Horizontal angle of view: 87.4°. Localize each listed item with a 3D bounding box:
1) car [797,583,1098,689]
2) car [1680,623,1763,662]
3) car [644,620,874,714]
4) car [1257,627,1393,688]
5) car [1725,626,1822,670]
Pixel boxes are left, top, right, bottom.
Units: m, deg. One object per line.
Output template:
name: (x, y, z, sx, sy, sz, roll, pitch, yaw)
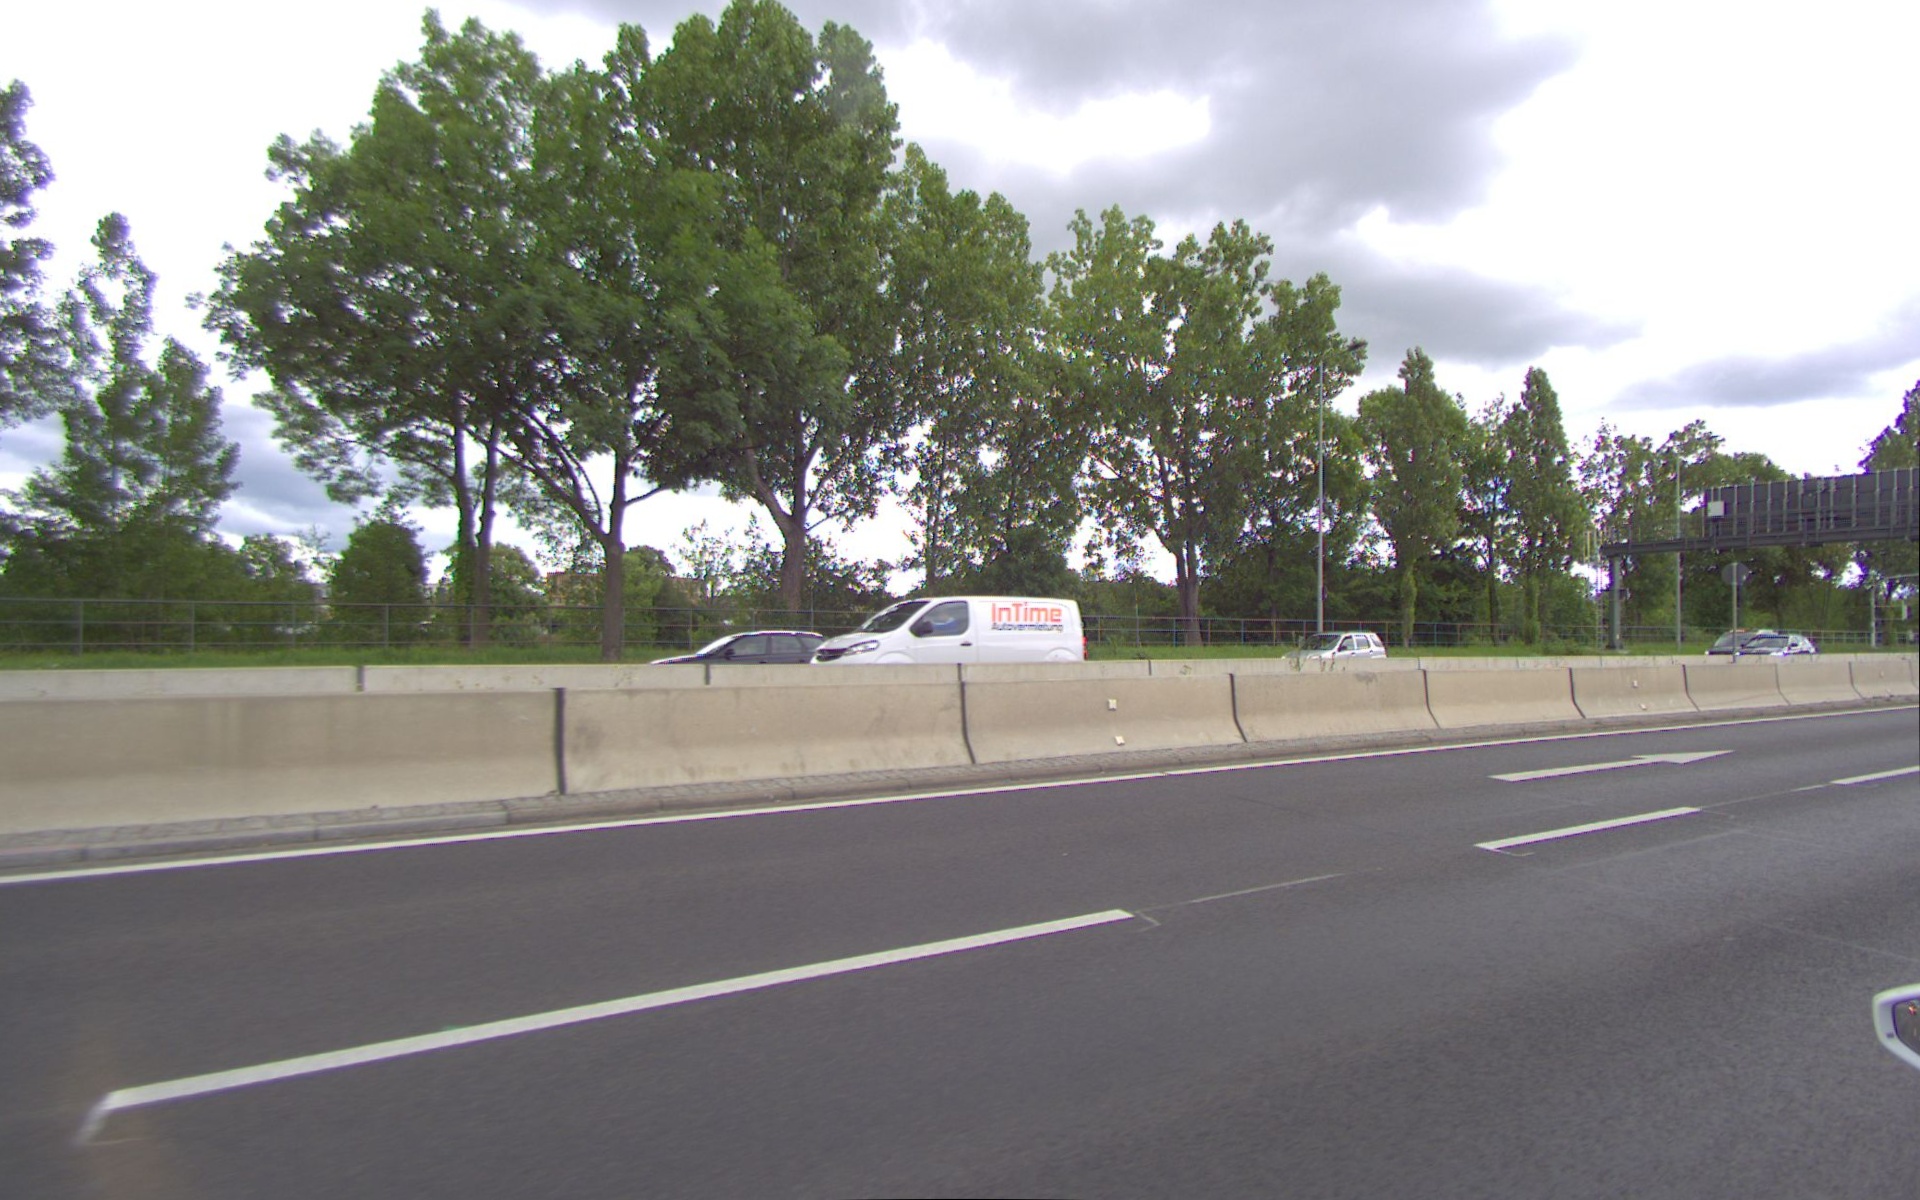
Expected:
car: (-0.156, 0.565, 17.196, 4.831, 1.580, 1.983, 1, 1, -32)
car: (36.591, 2.010, 48.272, 3.883, 1.705, 1.868, 1, 1, -31)
car: (-4.264, 1.353, 21.484, 4.418, 1.762, 1.983, 1, 1, -31)
car: (11.450, 1.747, 31.479, 4.075, 1.705, 1.868, 1, 1, -31)
car: (34.052, 1.978, 42.042, 4.079, 1.705, 1.868, 1, 1, -31)
